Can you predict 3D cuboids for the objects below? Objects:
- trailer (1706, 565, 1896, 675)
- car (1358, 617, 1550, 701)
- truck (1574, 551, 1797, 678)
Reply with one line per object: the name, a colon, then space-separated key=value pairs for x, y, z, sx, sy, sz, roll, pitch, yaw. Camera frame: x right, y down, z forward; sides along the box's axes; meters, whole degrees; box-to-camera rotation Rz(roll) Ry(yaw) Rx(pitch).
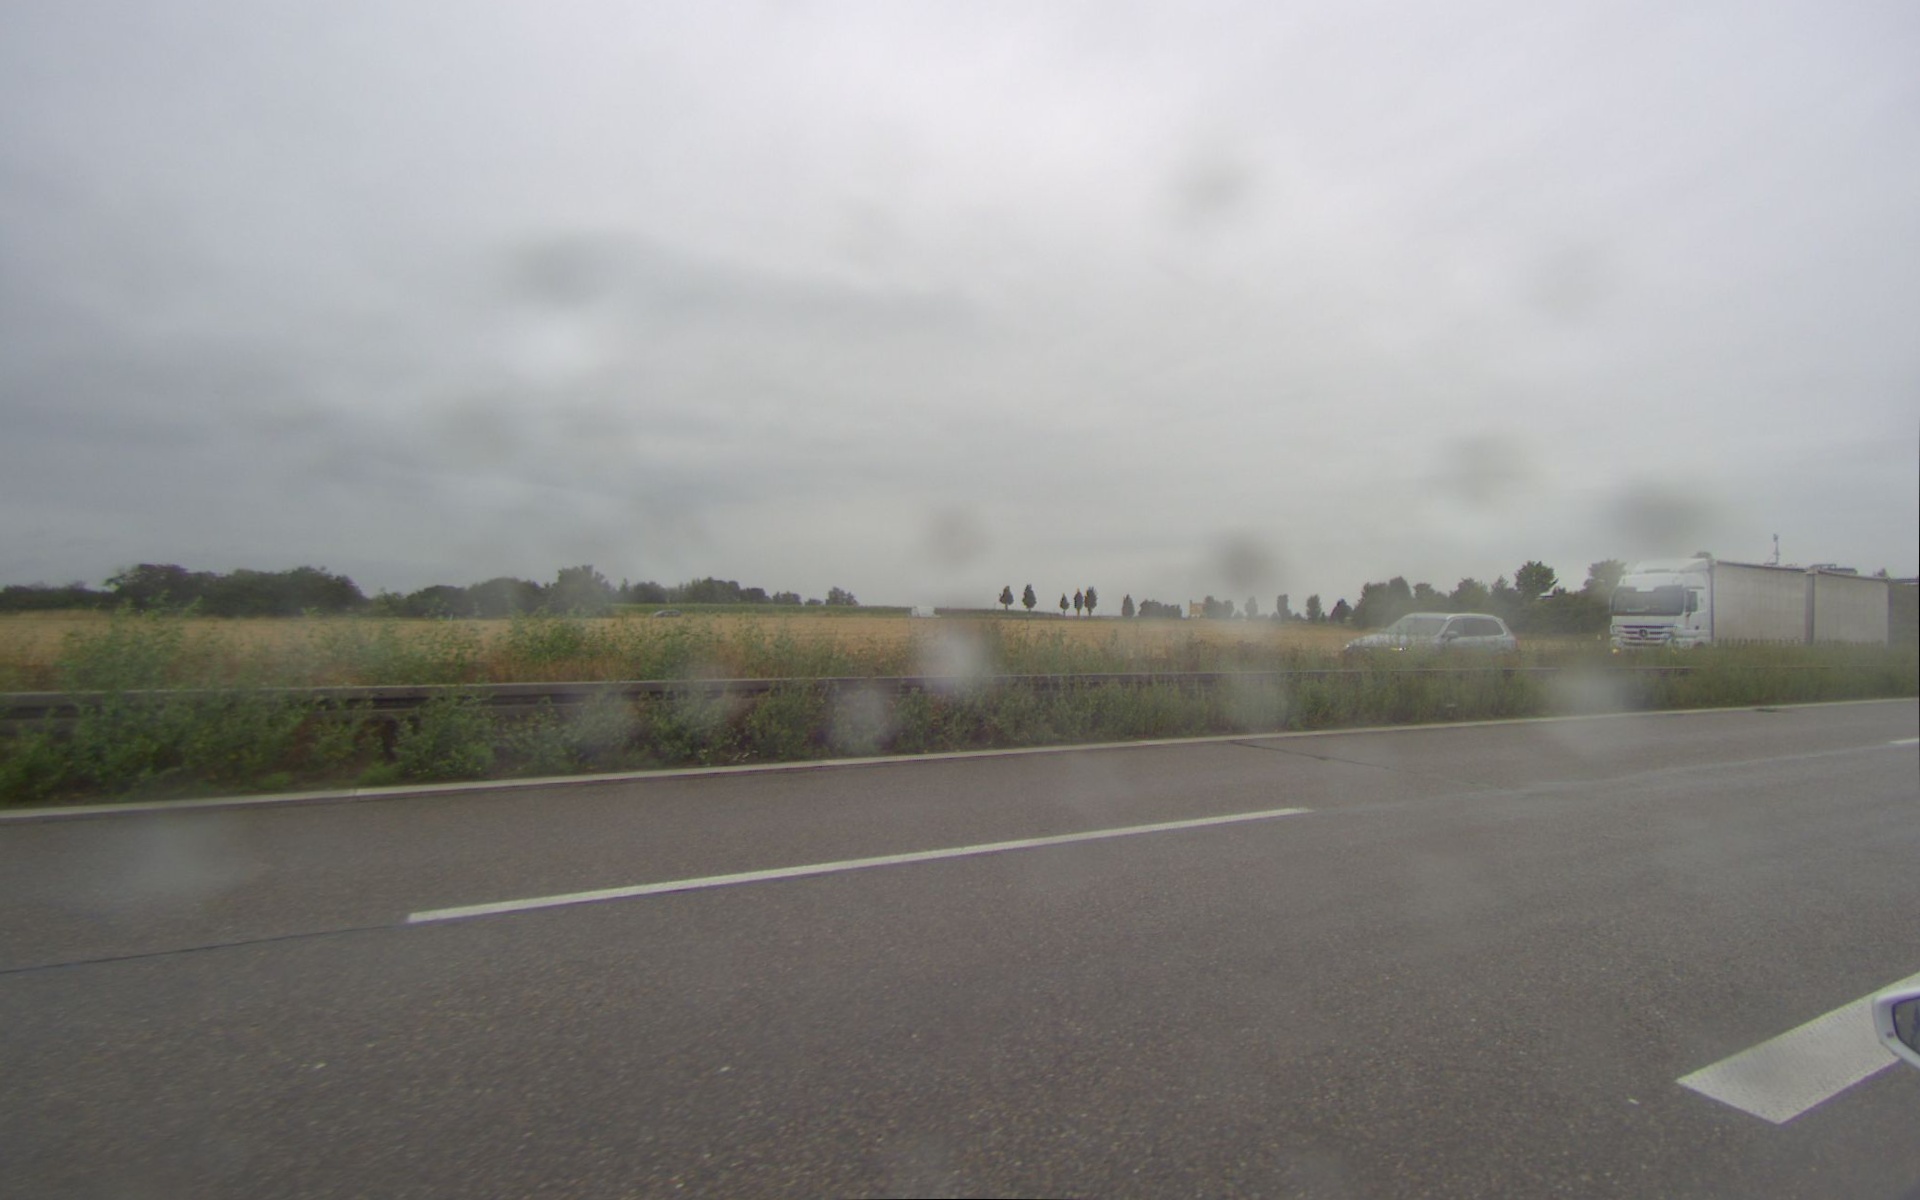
trailer: x=37.416 y=0.970 z=44.540 sx=10.392 sy=4.443 sz=3.213 roll=2 pitch=-1 yaw=-31
car: x=12.342 y=1.421 z=25.006 sx=4.816 sy=1.900 sz=2.093 roll=2 pitch=-1 yaw=-32
truck: x=28.458 y=0.668 z=39.180 sx=10.392 sy=4.443 sz=3.213 roll=2 pitch=-1 yaw=-31
